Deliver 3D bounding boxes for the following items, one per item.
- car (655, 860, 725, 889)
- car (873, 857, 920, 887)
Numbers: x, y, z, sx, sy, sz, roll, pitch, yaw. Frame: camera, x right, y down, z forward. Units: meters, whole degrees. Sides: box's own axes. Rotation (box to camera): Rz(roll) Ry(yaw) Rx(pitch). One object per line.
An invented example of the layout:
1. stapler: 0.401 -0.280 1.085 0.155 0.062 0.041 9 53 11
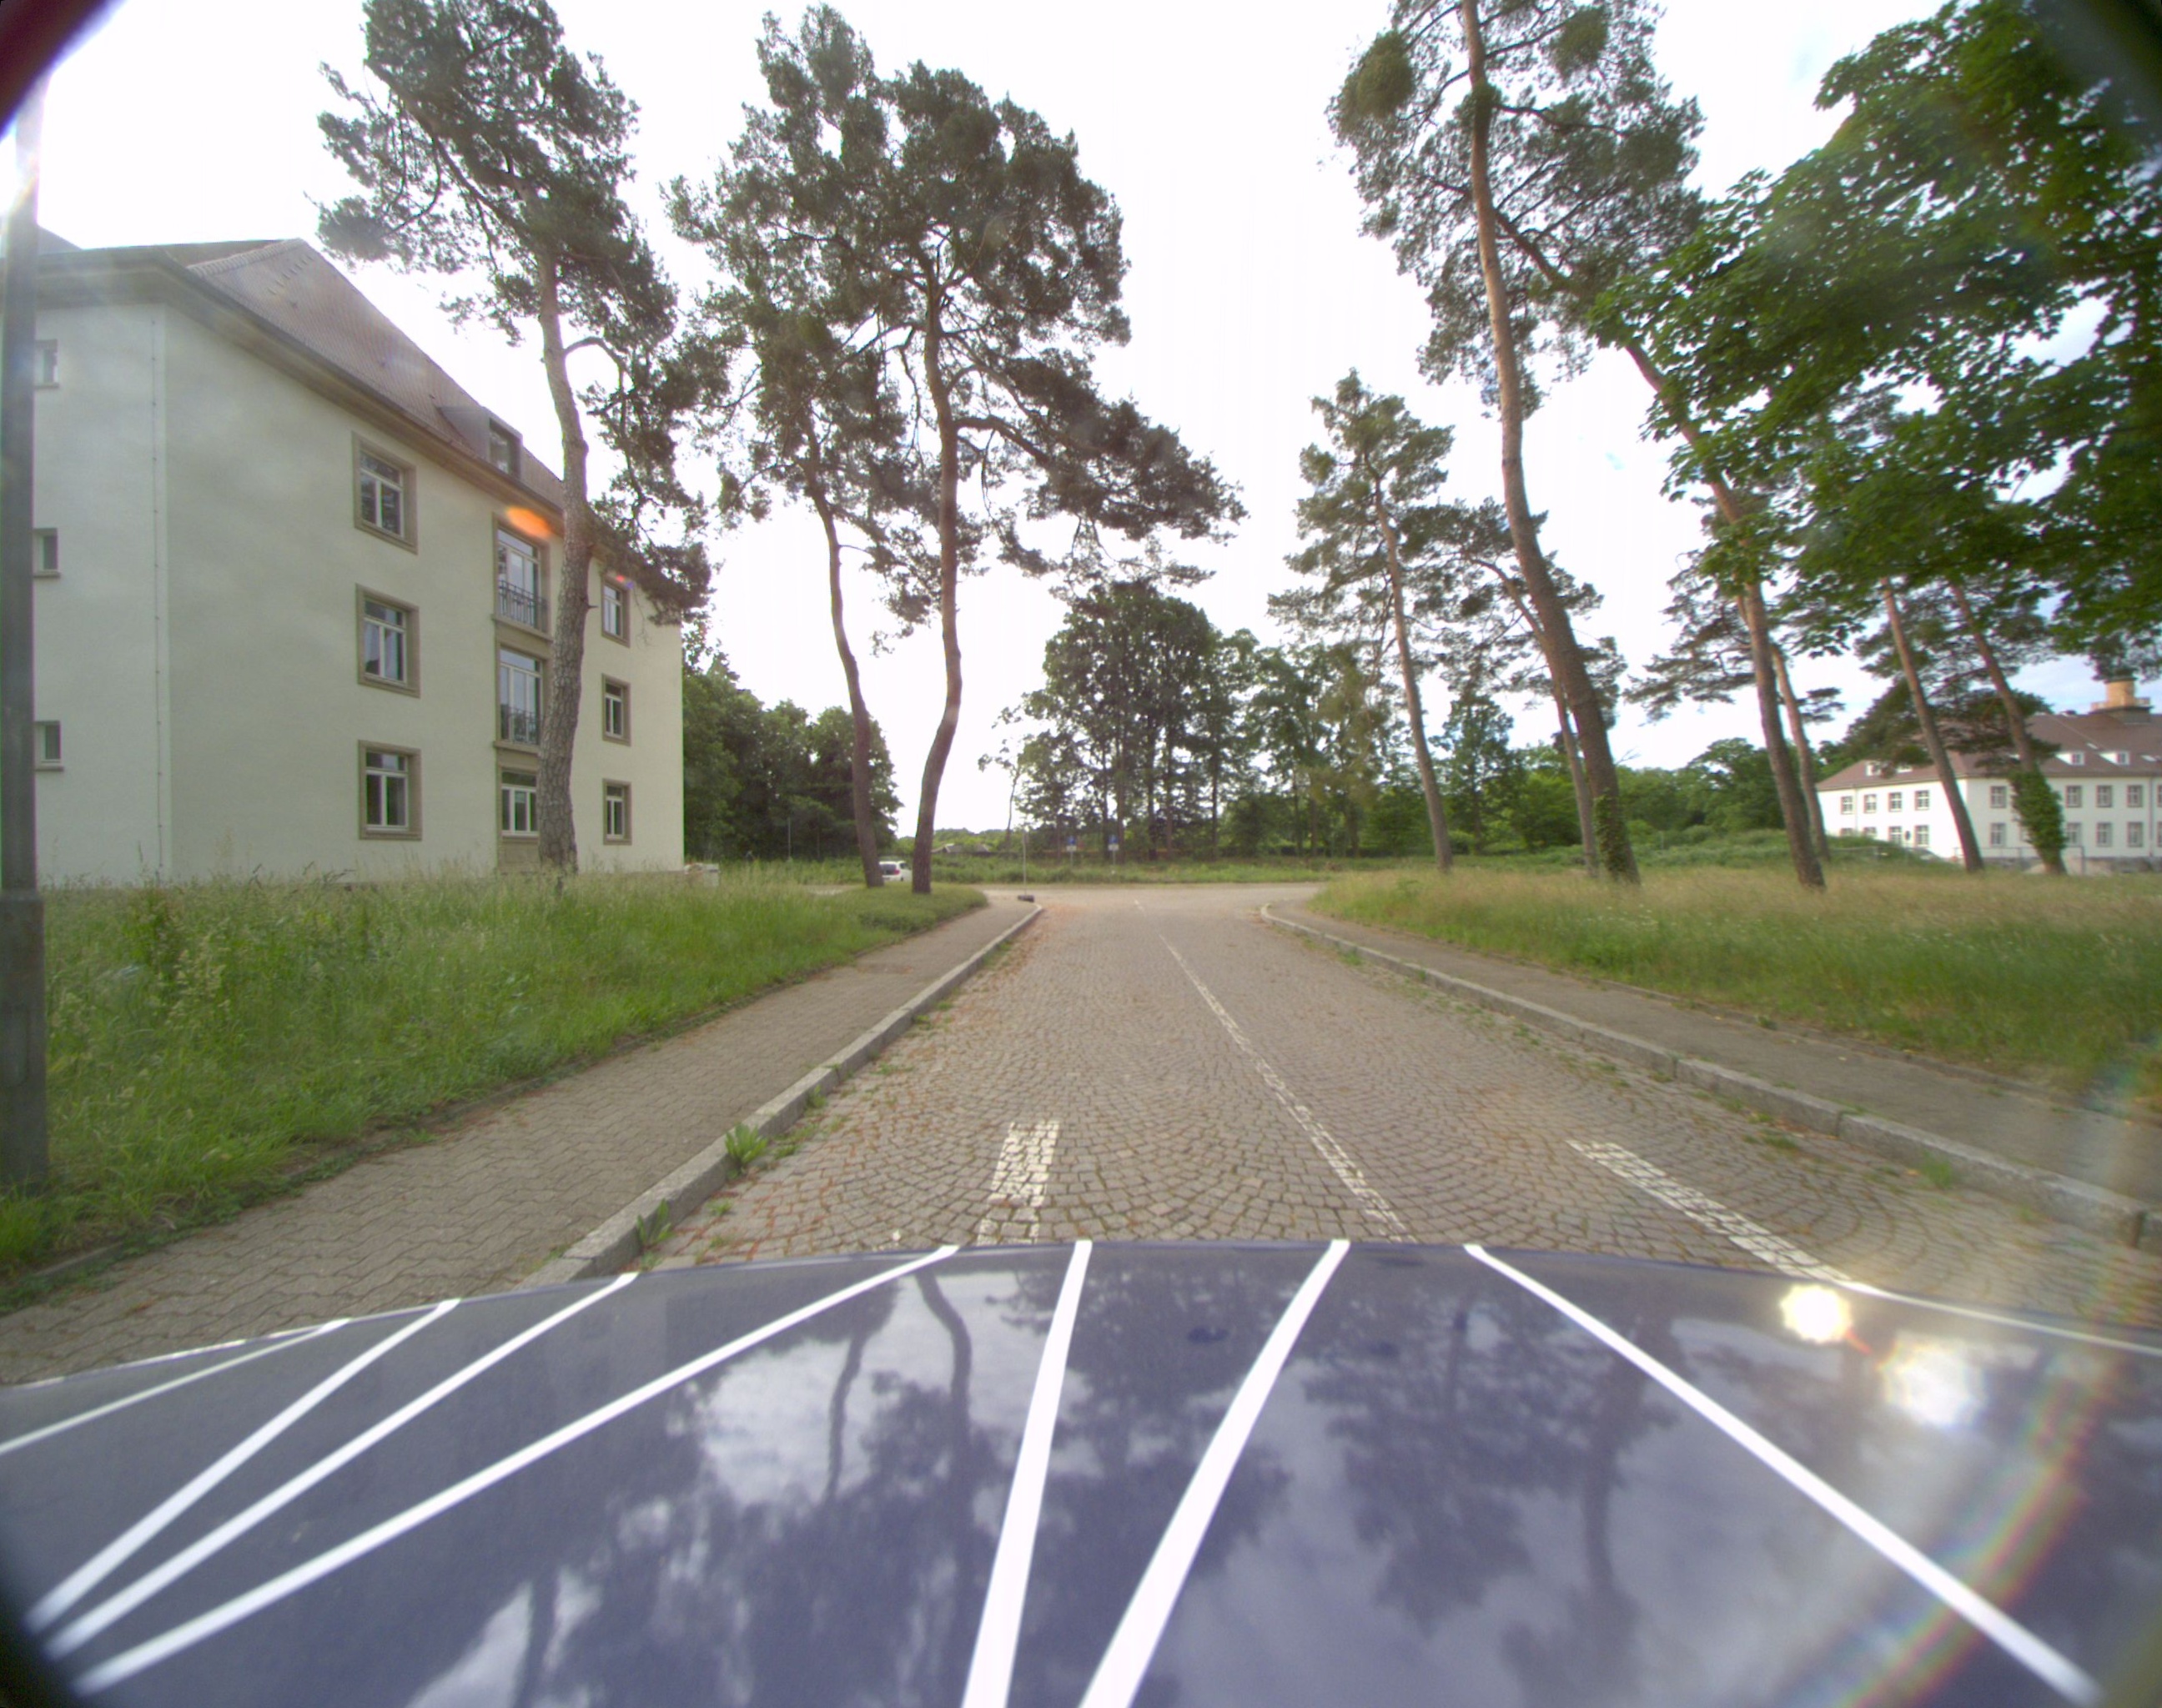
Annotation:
1. car: -21.391 1.098 41.760 1.640 1.321 3.999 -1 2 2
2. car: -10.084 0.973 41.698 1.640 1.426 3.277 0 2 2
